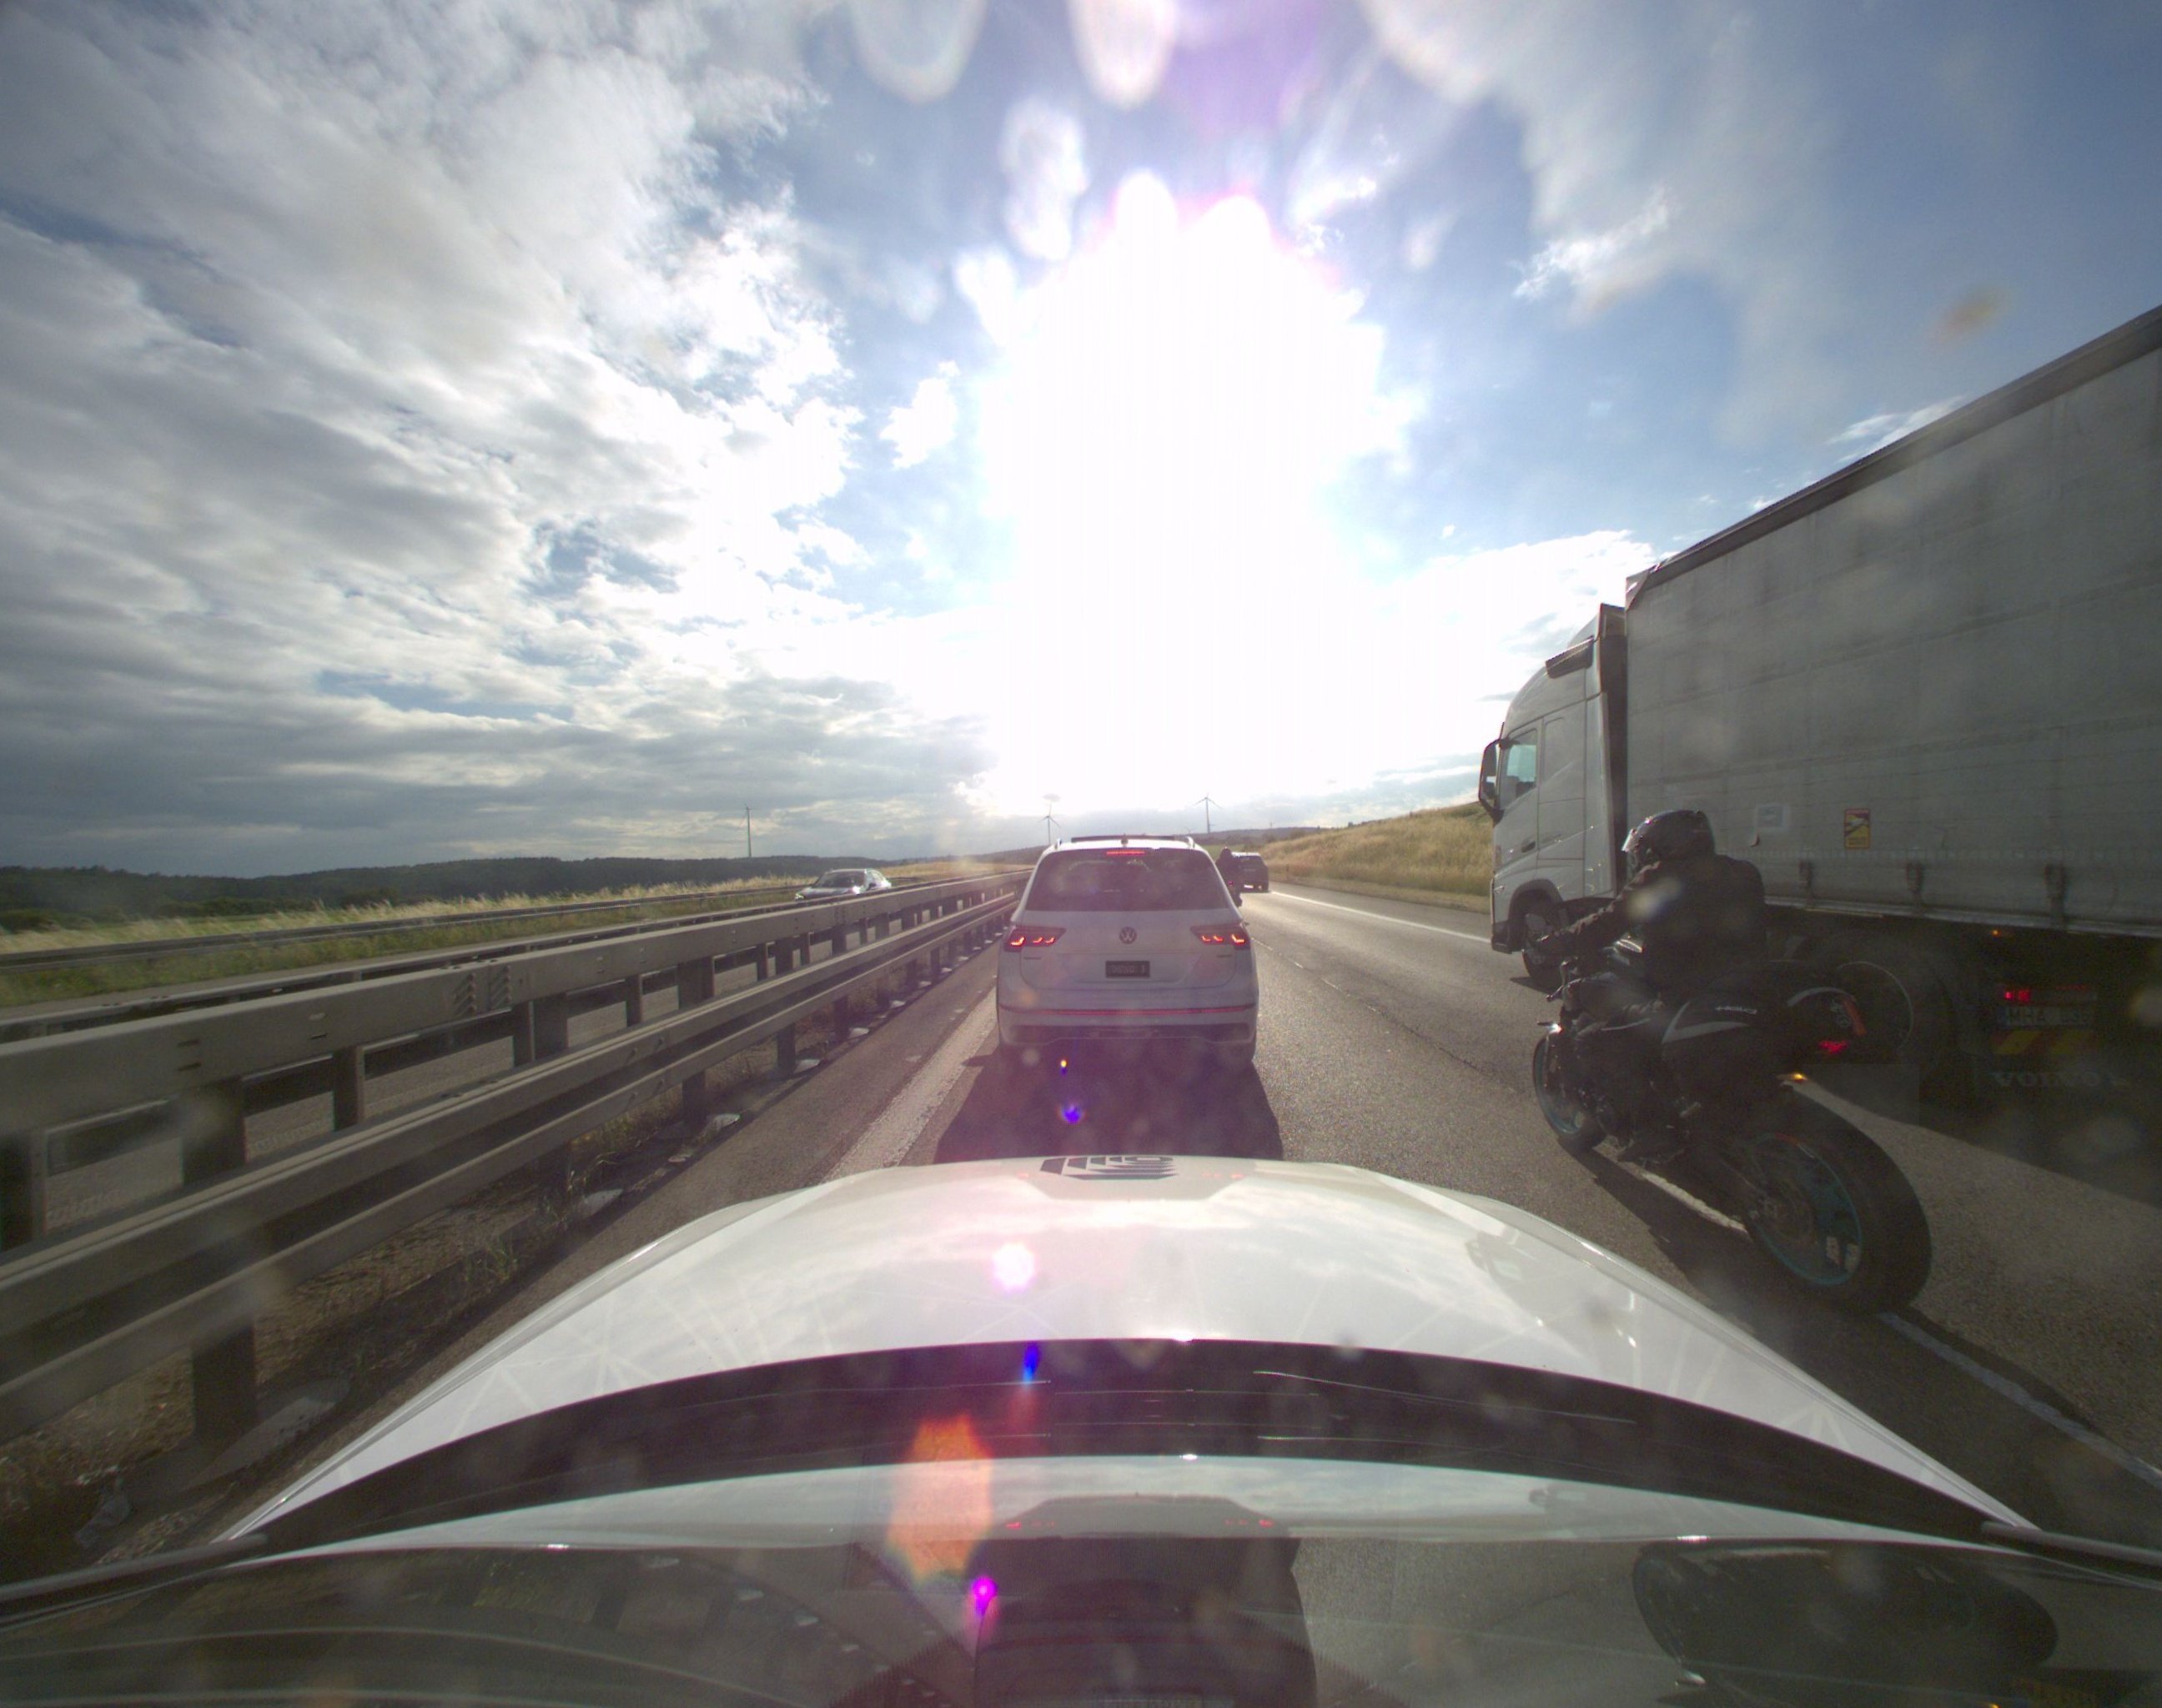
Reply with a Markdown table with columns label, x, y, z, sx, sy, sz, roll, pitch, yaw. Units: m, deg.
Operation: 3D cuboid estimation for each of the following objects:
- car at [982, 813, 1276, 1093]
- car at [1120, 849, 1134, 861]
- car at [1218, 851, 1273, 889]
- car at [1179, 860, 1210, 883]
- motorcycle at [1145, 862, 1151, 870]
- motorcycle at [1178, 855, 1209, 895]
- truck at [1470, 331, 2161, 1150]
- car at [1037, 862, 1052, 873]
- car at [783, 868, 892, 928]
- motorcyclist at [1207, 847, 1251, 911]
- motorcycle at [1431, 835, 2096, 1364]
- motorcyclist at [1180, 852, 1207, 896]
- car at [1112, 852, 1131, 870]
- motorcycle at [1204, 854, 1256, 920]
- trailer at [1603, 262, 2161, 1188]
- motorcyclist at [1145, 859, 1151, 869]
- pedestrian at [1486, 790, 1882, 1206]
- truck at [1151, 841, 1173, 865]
| label | x | y | z | sx | sy | sz | roll | pitch | yaw |
| --- | --- | --- | --- | --- | --- | --- | --- | --- | --- |
| car | 0.357 | 0.624 | 6.977 | 1.763 | 1.675 | 4.001 | -1 | -1 | 2 |
| car | 6.224 | 0.088 | 110.144 | 1.697 | 1.546 | 4.001 | -1 | -1 | 2 |
| car | 7.371 | 0.704 | 36.830 | 1.814 | 1.601 | 4.237 | 0 | -1 | 3 |
| car | 8.058 | 1.215 | 58.043 | 1.697 | 1.546 | 4.001 | -1 | -1 | 2 |
| motorcycle | 10.798 | 1.965 | 131.194 | 0.892 | 1.190 | 2.257 | -1 | -1 | 1 |
| motorcycle | 4.233 | 0.768 | 30.737 | 0.892 | 1.455 | 2.270 | -1 | -1 | 1 |
| truck | 6.109 | -0.580 | 7.076 | 2.591 | 4.040 | 6.121 | -1 | 0 | 1 |
| car | -5.001 | 1.825 | 111.028 | 1.726 | 1.485 | 4.002 | -1 | -1 | 2 |
| car | -6.778 | 1.171 | 23.107 | 1.726 | 1.485 | 4.001 | -1 | -1 | 2 |
| motorcyclist | 3.506 | 0.589 | 19.363 | 0.892 | 1.456 | 0.892 | -1 | -1 | 1 |
| motorcycle | 2.389 | 0.695 | 3.411 | 0.892 | 1.455 | 2.270 | -1 | -1 | 1 |
| motorcyclist | 4.234 | 0.737 | 30.688 | 0.892 | 1.617 | 1.022 | -1 | -1 | 1 |
| car | 3.974 | 0.666 | 80.223 | 1.697 | 1.650 | 4.001 | -1 | -1 | 2 |
| motorcycle | 3.516 | 0.757 | 19.388 | 0.892 | 1.456 | 1.983 | -1 | -1 | 1 |
| trailer | 5.972 | -0.582 | 0.553 | 2.607 | 4.040 | 13.701 | -1 | 0 | 1 |
| motorcyclist | 10.790 | 1.554 | 131.154 | 0.846 | 1.560 | 0.934 | -1 | -1 | 1 |
| pedestrian | 2.381 | 0.513 | 3.381 | 0.892 | 1.456 | 0.984 | -1 | -1 | 1 |
| truck | 13.031 | -0.223 | 131.448 | 3.170 | 3.594 | 11.142 | -1 | 0 | 4 |
